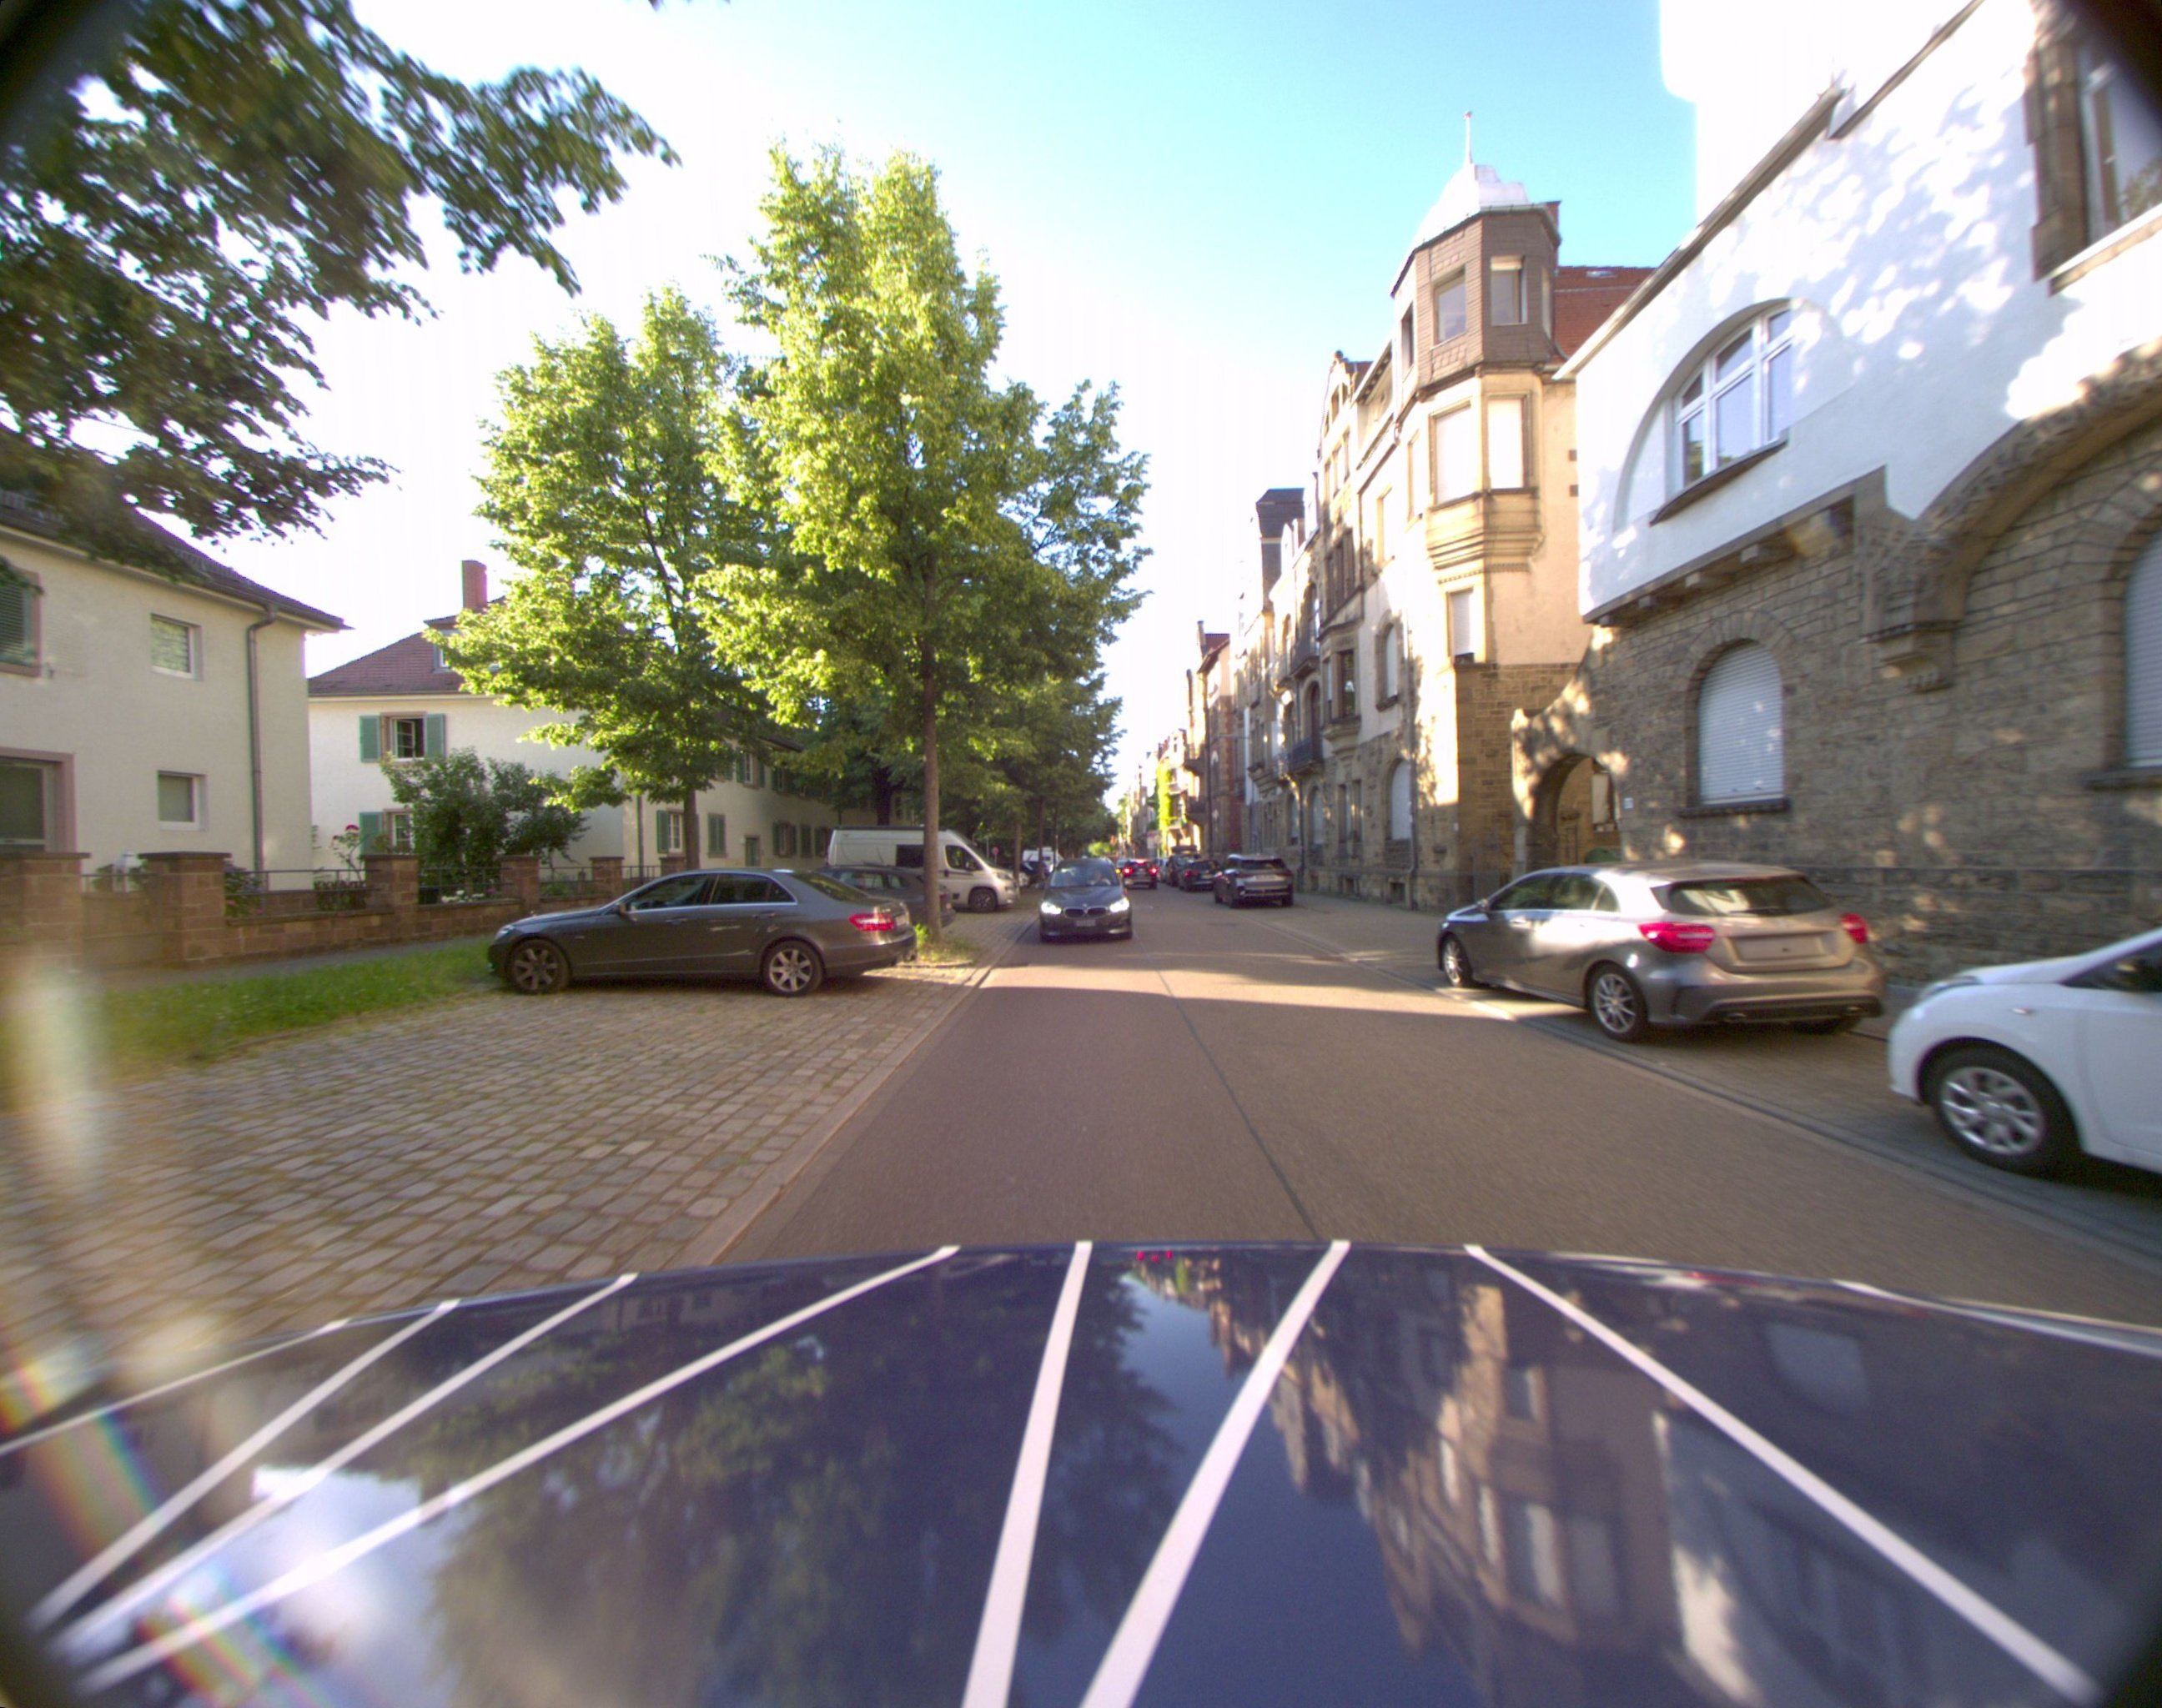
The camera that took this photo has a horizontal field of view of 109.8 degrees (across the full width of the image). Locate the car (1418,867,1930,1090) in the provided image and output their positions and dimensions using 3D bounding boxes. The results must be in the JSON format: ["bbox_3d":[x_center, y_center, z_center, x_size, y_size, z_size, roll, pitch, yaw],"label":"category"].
[{"bbox_3d":[5.037,0.900,7.340,1.681,1.434,4.111,-2,0,0],"label":"car"}]

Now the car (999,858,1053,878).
[{"bbox_3d":[-4.168,1.061,57.721,3.998,1.503,1.572,0,0,-3],"label":"car"}]

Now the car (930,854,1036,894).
[{"bbox_3d":[-4.435,0.912,35.023,4.606,1.706,2.000,1,0,-1],"label":"car"}]

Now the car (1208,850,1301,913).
[{"bbox_3d":[5.247,0.765,23.547,1.881,1.707,4.339,-2,0,1],"label":"car"}]

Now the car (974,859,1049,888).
[{"bbox_3d":[-3.813,1.068,42.276,3.997,1.543,1.555,0,0,1],"label":"car"}]

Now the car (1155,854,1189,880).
[{"bbox_3d":[5.661,0.852,47.642,1.633,1.439,3.856,-5,-1,2],"label":"car"}]

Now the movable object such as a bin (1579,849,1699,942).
[{"bbox_3d":[9.621,0.685,13.168,1.196,1.470,1.174,-2,1,0],"label":"movable object such as a bin"}]

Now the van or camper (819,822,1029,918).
[{"bbox_3d":[-4.533,0.454,22.687,5.733,2.502,2.162,2,0,0],"label":"van or camper"}]

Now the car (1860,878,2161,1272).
[{"bbox_3d":[4.966,0.877,2.312,1.570,1.461,3.592,-2,0,3],"label":"car"}]

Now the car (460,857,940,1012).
[{"bbox_3d":[-4.335,0.891,9.277,4.850,1.530,1.894,2,0,-1],"label":"car"}]

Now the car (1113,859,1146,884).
[{"bbox_3d":[3.257,1.149,51.956,1.868,1.454,4.567,-2,1,0],"label":"car"}]

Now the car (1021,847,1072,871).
[{"bbox_3d":[-3.782,0.532,83.303,5.448,2.646,2.134,0,0,1],"label":"car"}]

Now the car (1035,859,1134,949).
[{"bbox_3d":[0.123,0.931,16.201,1.753,1.596,4.551,-2,0,1],"label":"car"}]

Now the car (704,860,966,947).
[{"bbox_3d":[-4.685,0.918,14.914,4.486,1.427,1.828,2,0,1],"label":"car"}]

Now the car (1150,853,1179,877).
[{"bbox_3d":[5.829,0.777,53.186,1.633,1.496,3.856,-5,-1,2],"label":"car"}]

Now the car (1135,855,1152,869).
[{"bbox_3d":[7.073,0.945,86.537,1.686,1.496,3.629,-5,-1,2],"label":"car"}]

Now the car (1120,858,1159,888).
[{"bbox_3d":[3.001,0.943,39.550,1.631,1.469,3.759,0,0,-1],"label":"car"}]

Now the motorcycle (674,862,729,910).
[{"bbox_3d":[-12.029,0.983,24.142,0.660,1.398,2.016,-2,1,1],"label":"motorcycle"}]

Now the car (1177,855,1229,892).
[{"bbox_3d":[5.570,0.855,35.210,1.774,1.493,4.211,-1,1,0],"label":"car"}]

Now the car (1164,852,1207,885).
[{"bbox_3d":[5.705,0.762,41.894,1.774,1.658,4.212,-2,1,1],"label":"car"}]
